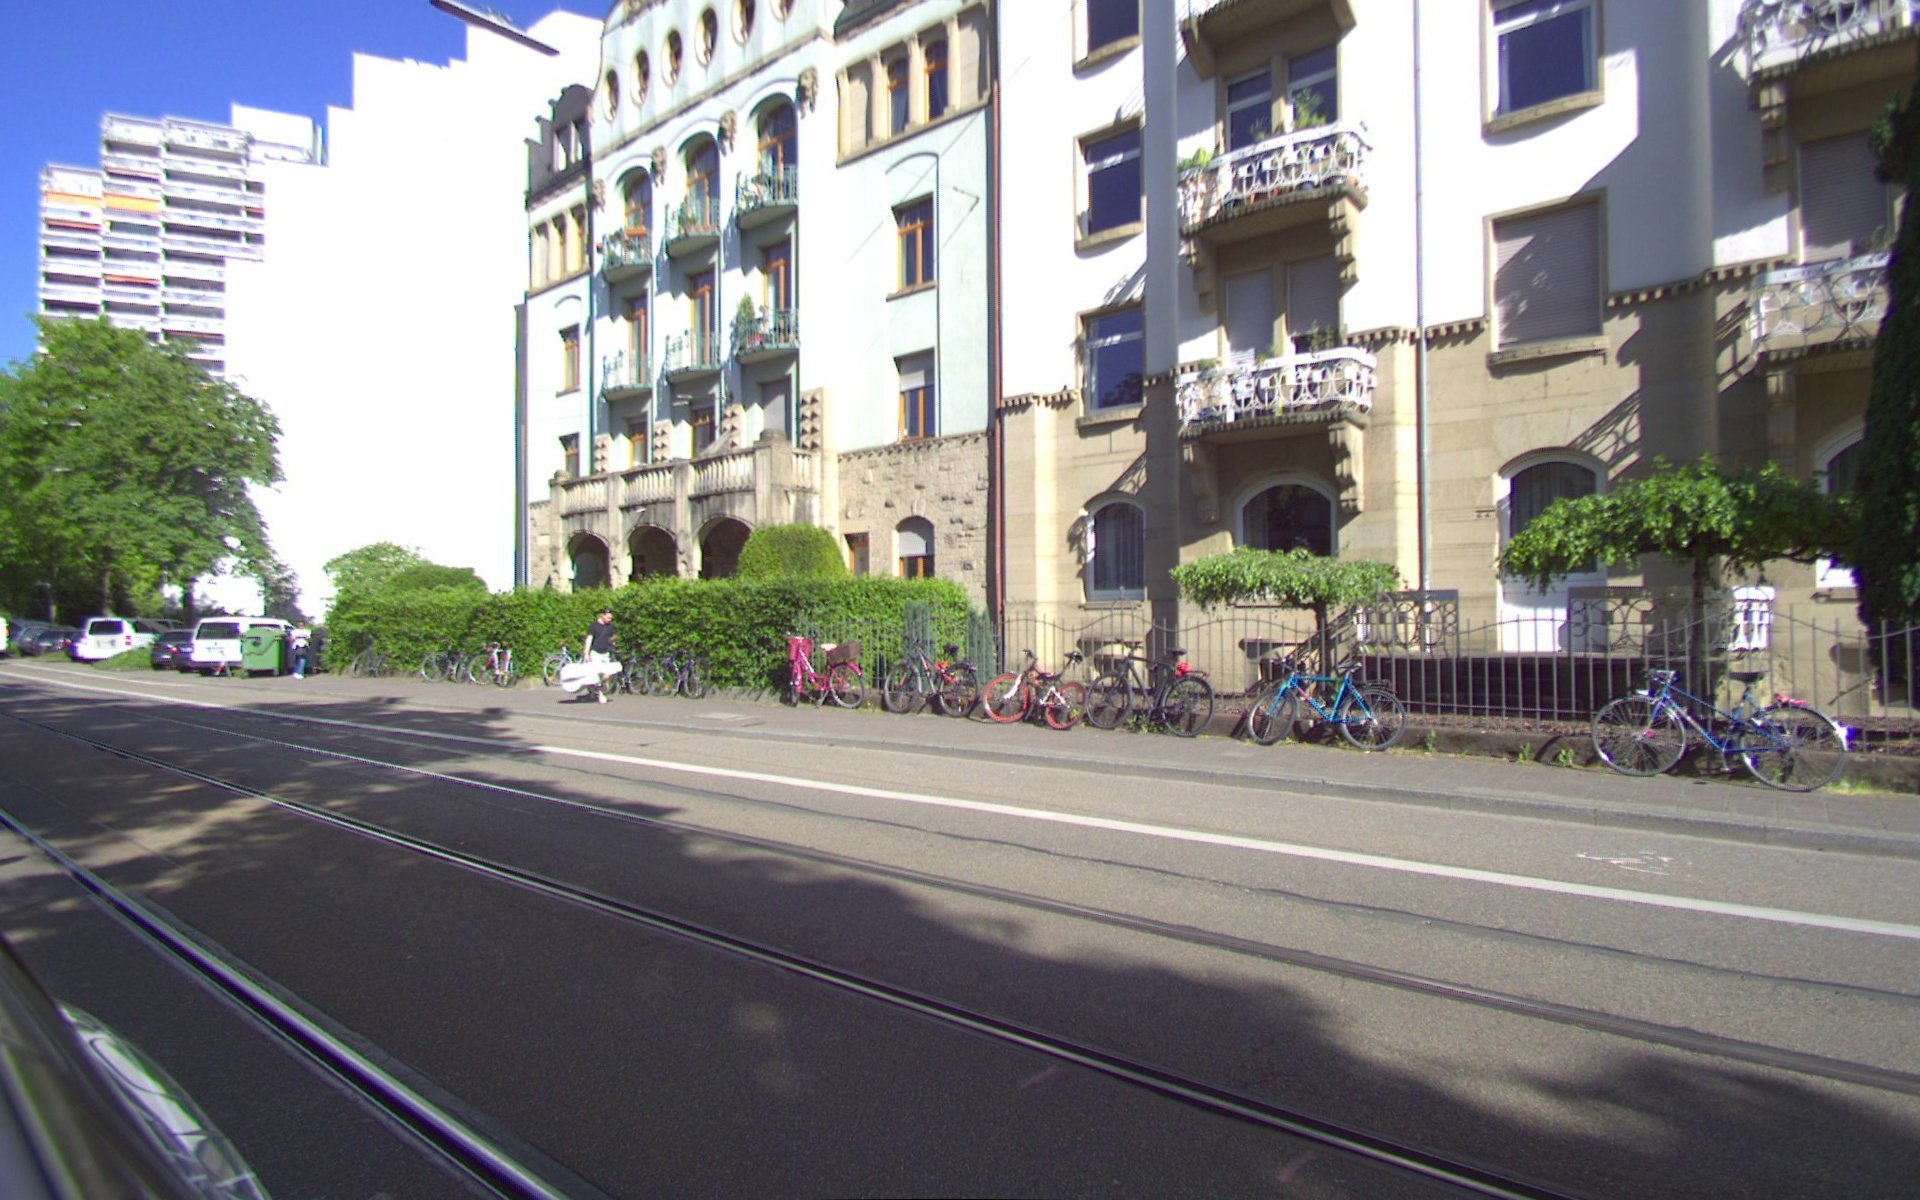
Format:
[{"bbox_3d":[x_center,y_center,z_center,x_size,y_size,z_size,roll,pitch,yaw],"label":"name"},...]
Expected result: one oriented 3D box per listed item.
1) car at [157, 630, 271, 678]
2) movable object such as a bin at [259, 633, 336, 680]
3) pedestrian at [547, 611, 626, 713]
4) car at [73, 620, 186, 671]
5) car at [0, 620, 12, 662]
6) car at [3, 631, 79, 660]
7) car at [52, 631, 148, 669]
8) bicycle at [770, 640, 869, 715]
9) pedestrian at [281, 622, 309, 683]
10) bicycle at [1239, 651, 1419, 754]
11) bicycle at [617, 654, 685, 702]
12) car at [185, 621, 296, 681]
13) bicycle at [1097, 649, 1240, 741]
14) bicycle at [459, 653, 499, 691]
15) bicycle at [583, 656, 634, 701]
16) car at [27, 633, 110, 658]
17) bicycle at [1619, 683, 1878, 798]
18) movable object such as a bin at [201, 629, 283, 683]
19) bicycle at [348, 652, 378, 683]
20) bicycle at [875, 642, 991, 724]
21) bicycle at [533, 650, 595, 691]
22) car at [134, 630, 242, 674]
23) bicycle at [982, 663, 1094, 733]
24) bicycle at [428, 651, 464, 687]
[{"bbox_3d":[-25.132,1.796,34.165,1.451,1.446,2.734,-1,0,24],"label":"car"},{"bbox_3d":[-20.461,1.716,31.264,2.095,1.326,1.482,-1,0,41],"label":"movable object such as a bin"},{"bbox_3d":[-6.439,1.038,17.442,0.870,1.640,0.858,-1,4,41],"label":"pedestrian"},{"bbox_3d":[-33.299,1.793,40.697,1.894,1.885,3.447,-1,0,-4],"label":"car"},{"bbox_3d":[-46.981,1.977,48.492,1.968,1.918,4.007,-1,0,-39],"label":"car"},{"bbox_3d":[-48.450,2.376,53.379,1.220,1.436,2.734,-1,0,24],"label":"car"},{"bbox_3d":[-36.169,2.082,42.594,1.451,1.446,2.734,-1,0,24],"label":"car"},{"bbox_3d":[-2.162,1.154,15.443,1.815,1.031,0.400,-1,0,41],"label":"bicycle"},{"bbox_3d":[-18.355,1.435,27.919,0.659,1.641,0.469,-1,0,41],"label":"pedestrian"},{"bbox_3d":[3.831,1.037,10.607,1.748,0.949,0.400,-1,0,41],"label":"bicycle"},{"bbox_3d":[-5.581,1.392,18.244,1.581,0.767,0.400,-1,0,41],"label":"bicycle"},{"bbox_3d":[-22.829,1.632,32.234,1.438,1.787,3.189,-1,-3,-5],"label":"car"},{"bbox_3d":[2.399,1.078,11.785,1.648,0.949,0.400,-1,0,41],"label":"bicycle"},{"bbox_3d":[-10.610,1.581,22.326,1.263,0.767,0.314,-1,0,41],"label":"bicycle"},{"bbox_3d":[-6.694,1.482,19.253,1.263,0.767,0.335,-1,0,41],"label":"bicycle"},{"bbox_3d":[-42.927,2.177,48.772,1.220,1.097,2.734,-1,0,24],"label":"car"},{"bbox_3d":[6.412,1.117,8.309,1.651,0.767,0.314,-1,0,41],"label":"bicycle"},{"bbox_3d":[-20.814,1.588,29.341,2.095,1.443,1.493,-1,0,41],"label":"movable object such as a bin"},{"bbox_3d":[-15.643,1.758,26.497,1.263,0.767,0.293,-1,0,41],"label":"bicycle"},{"bbox_3d":[-0.401,1.115,14.018,1.815,1.031,0.400,-1,0,41],"label":"bicycle"},{"bbox_3d":[-8.573,1.518,21.946,0.297,0.799,1.246,-1,0,41],"label":"bicycle"},{"bbox_3d":[-27.688,1.829,36.354,1.451,1.446,2.734,-1,0,24],"label":"car"},{"bbox_3d":[0.970,1.224,12.861,1.542,0.767,0.314,-1,0,41],"label":"bicycle"},{"bbox_3d":[-11.955,1.598,23.509,1.263,0.767,0.293,-1,0,41],"label":"bicycle"}]
